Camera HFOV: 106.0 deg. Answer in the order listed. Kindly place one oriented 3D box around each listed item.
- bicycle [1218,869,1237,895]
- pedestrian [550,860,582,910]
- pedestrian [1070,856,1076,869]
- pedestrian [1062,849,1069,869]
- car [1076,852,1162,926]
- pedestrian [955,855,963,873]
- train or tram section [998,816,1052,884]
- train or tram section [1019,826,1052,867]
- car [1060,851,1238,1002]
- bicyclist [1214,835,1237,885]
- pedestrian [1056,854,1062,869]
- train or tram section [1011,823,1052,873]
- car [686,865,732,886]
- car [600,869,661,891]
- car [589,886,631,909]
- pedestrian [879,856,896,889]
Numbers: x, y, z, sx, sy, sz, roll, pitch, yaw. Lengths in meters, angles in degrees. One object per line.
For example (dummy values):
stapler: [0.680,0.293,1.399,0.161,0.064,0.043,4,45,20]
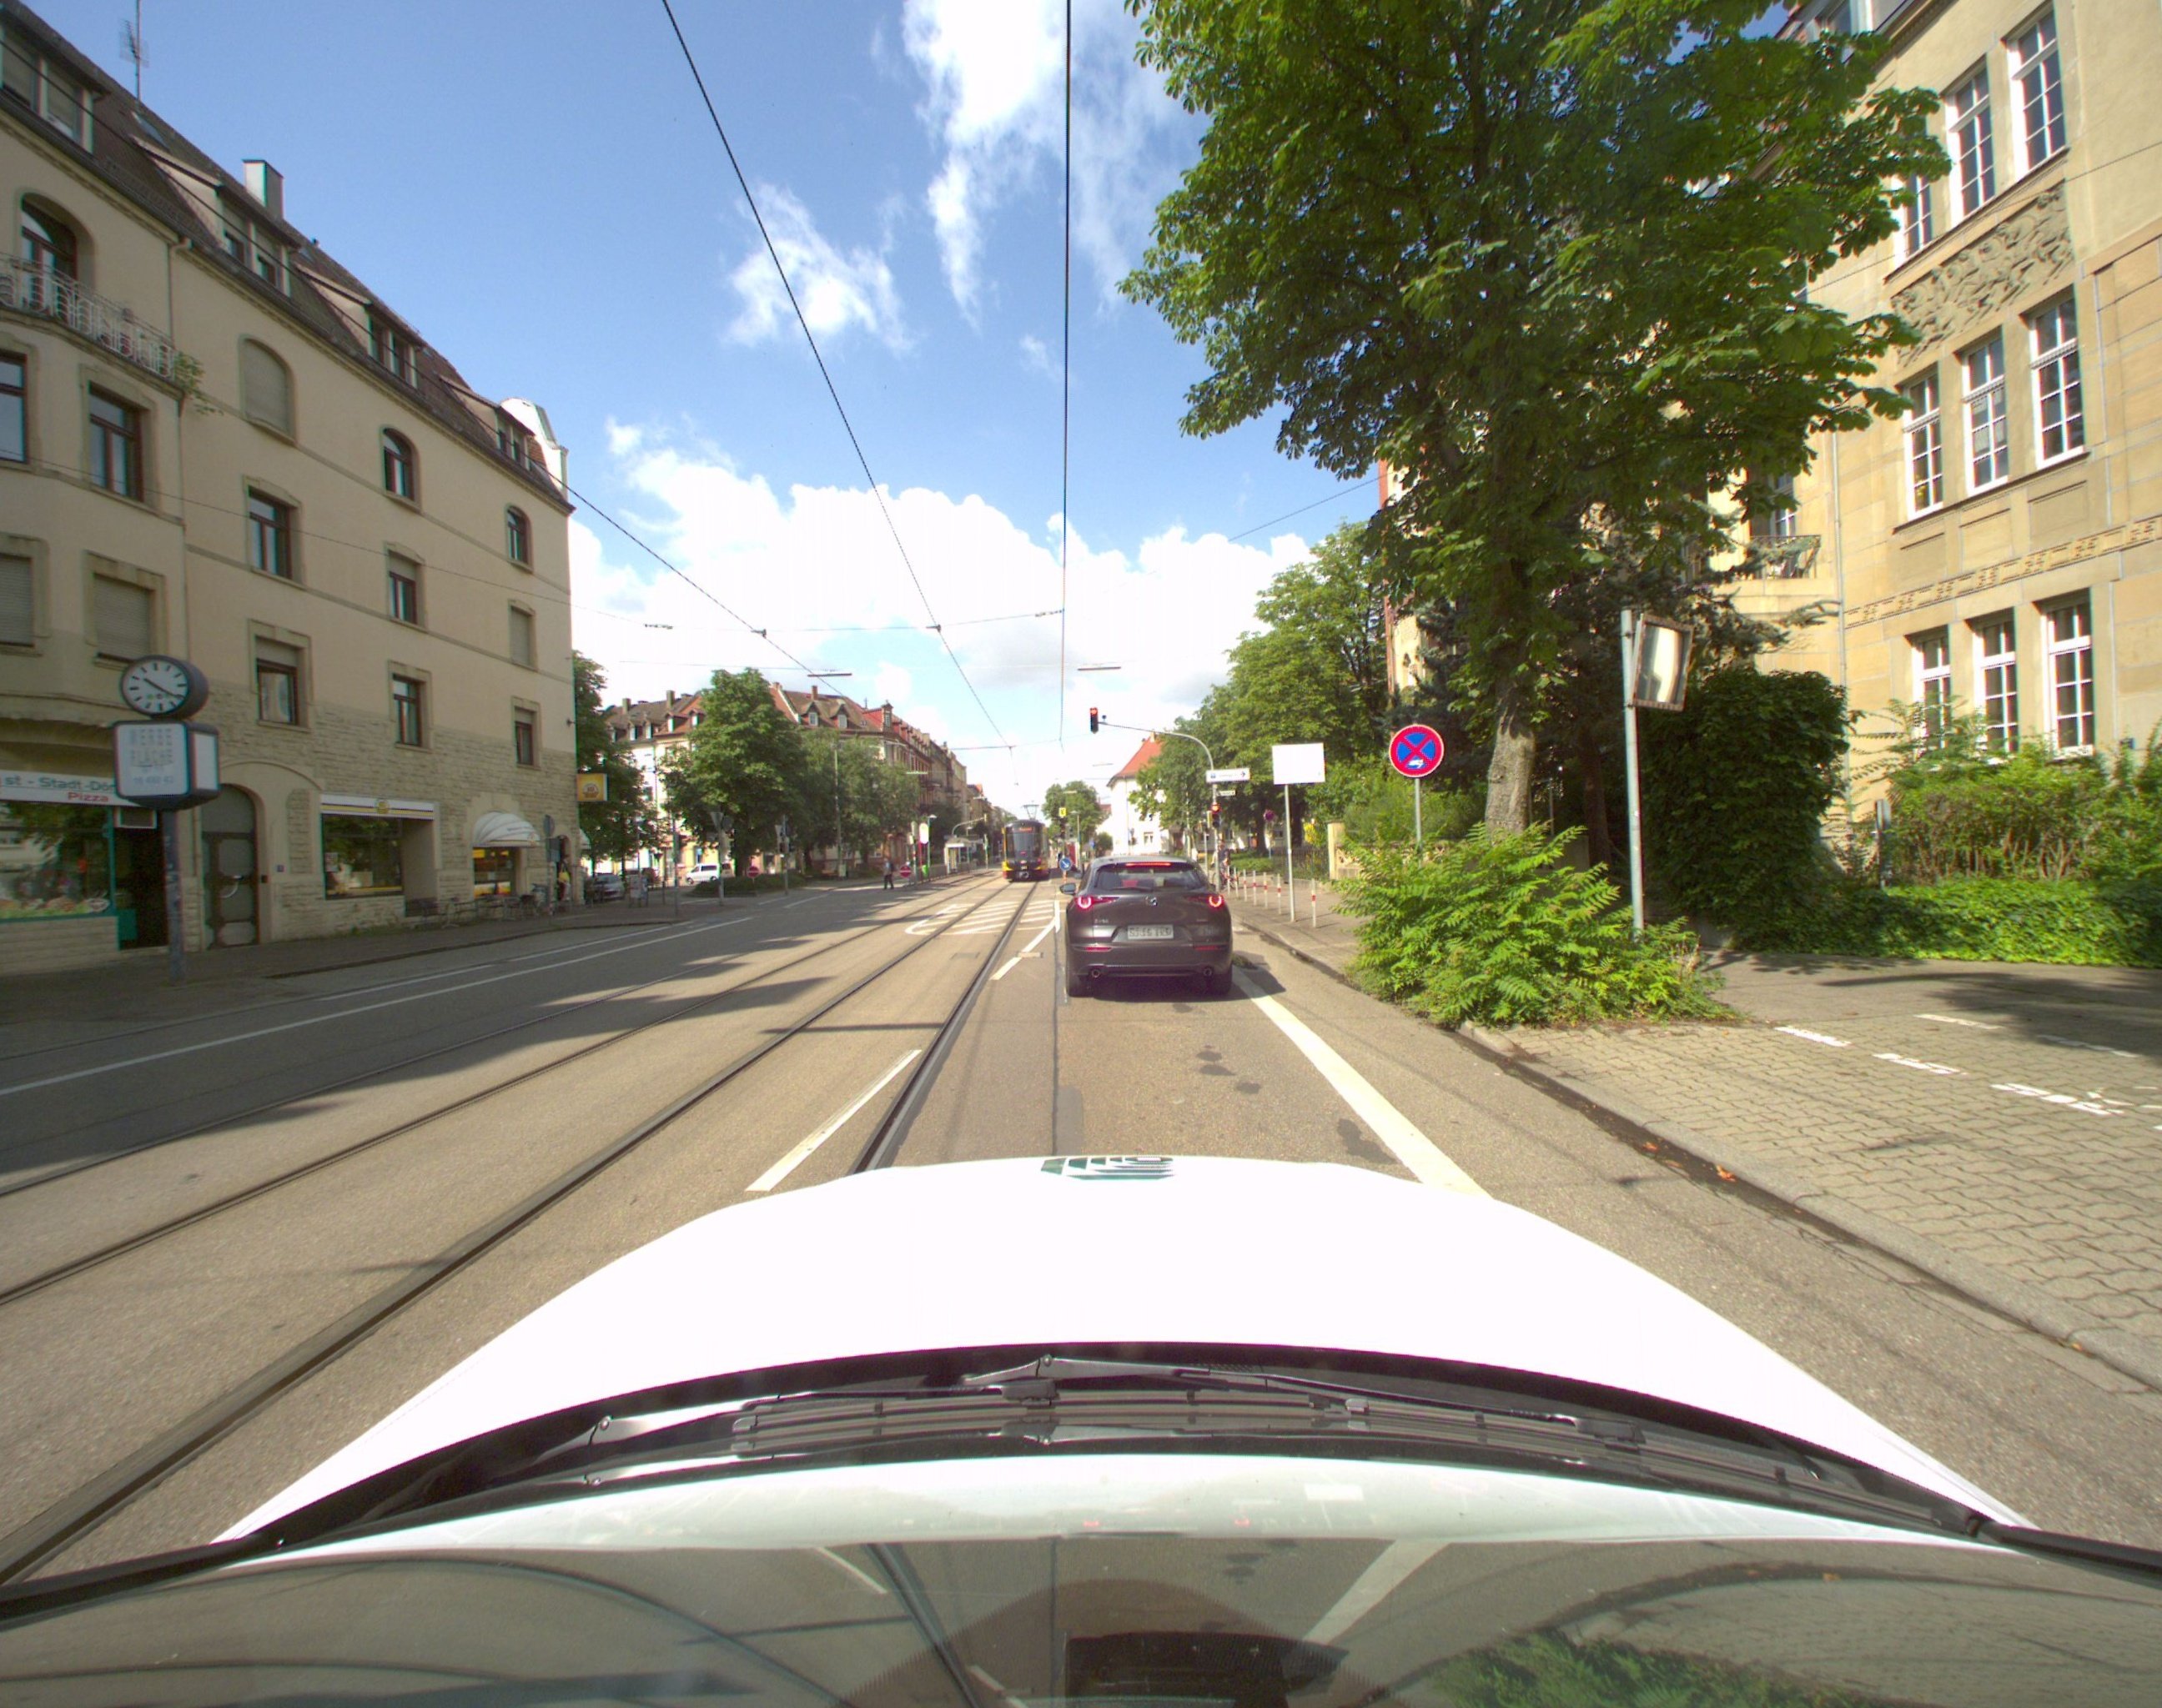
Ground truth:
bicycle: [5.323,1.002,29.548,0.489,0.824,1.706,-2,0,16]
pedestrian: [-18.764,1.108,29.676,0.683,1.754,0.798,-2,0,-10]
pedestrian: [-0.622,0.644,60.475,0.379,0.984,0.474,-2,0,-3]
pedestrian: [-1.151,0.381,60.316,0.449,1.434,0.474,-2,0,-3]
car: [0.832,0.712,18.757,1.772,1.499,4.001,0,0,1]
pedestrian: [-9.764,0.821,64.977,0.424,1.399,0.401,-2,0,32]
train or tram section: [-3.246,-0.332,50.808,2.746,3.490,14.396,-2,1,-2]
train or tram section: [-4.338,-0.781,79.595,2.746,3.490,14.396,-2,1,-2]
car: [0.733,0.715,10.147,1.772,1.499,4.001,0,0,1]
bicyclist: [5.208,0.212,29.393,0.650,1.793,0.613,-2,0,19]
pedestrian: [-1.604,0.569,60.149,0.379,1.071,0.474,-2,0,-2]
train or tram section: [-3.794,-0.539,65.213,2.746,3.490,14.396,-2,1,-2]
car: [-36.695,2.126,80.352,3.950,1.903,2.012,-2,0,26]
car: [-37.734,2.172,68.282,3.972,1.596,2.001,-3,0,2]
car: [-27.623,2.522,47.696,1.686,1.182,3.955,-2,0,-36]
pedestrian: [-10.228,0.969,43.024,0.720,1.705,0.818,-2,0,-23]
